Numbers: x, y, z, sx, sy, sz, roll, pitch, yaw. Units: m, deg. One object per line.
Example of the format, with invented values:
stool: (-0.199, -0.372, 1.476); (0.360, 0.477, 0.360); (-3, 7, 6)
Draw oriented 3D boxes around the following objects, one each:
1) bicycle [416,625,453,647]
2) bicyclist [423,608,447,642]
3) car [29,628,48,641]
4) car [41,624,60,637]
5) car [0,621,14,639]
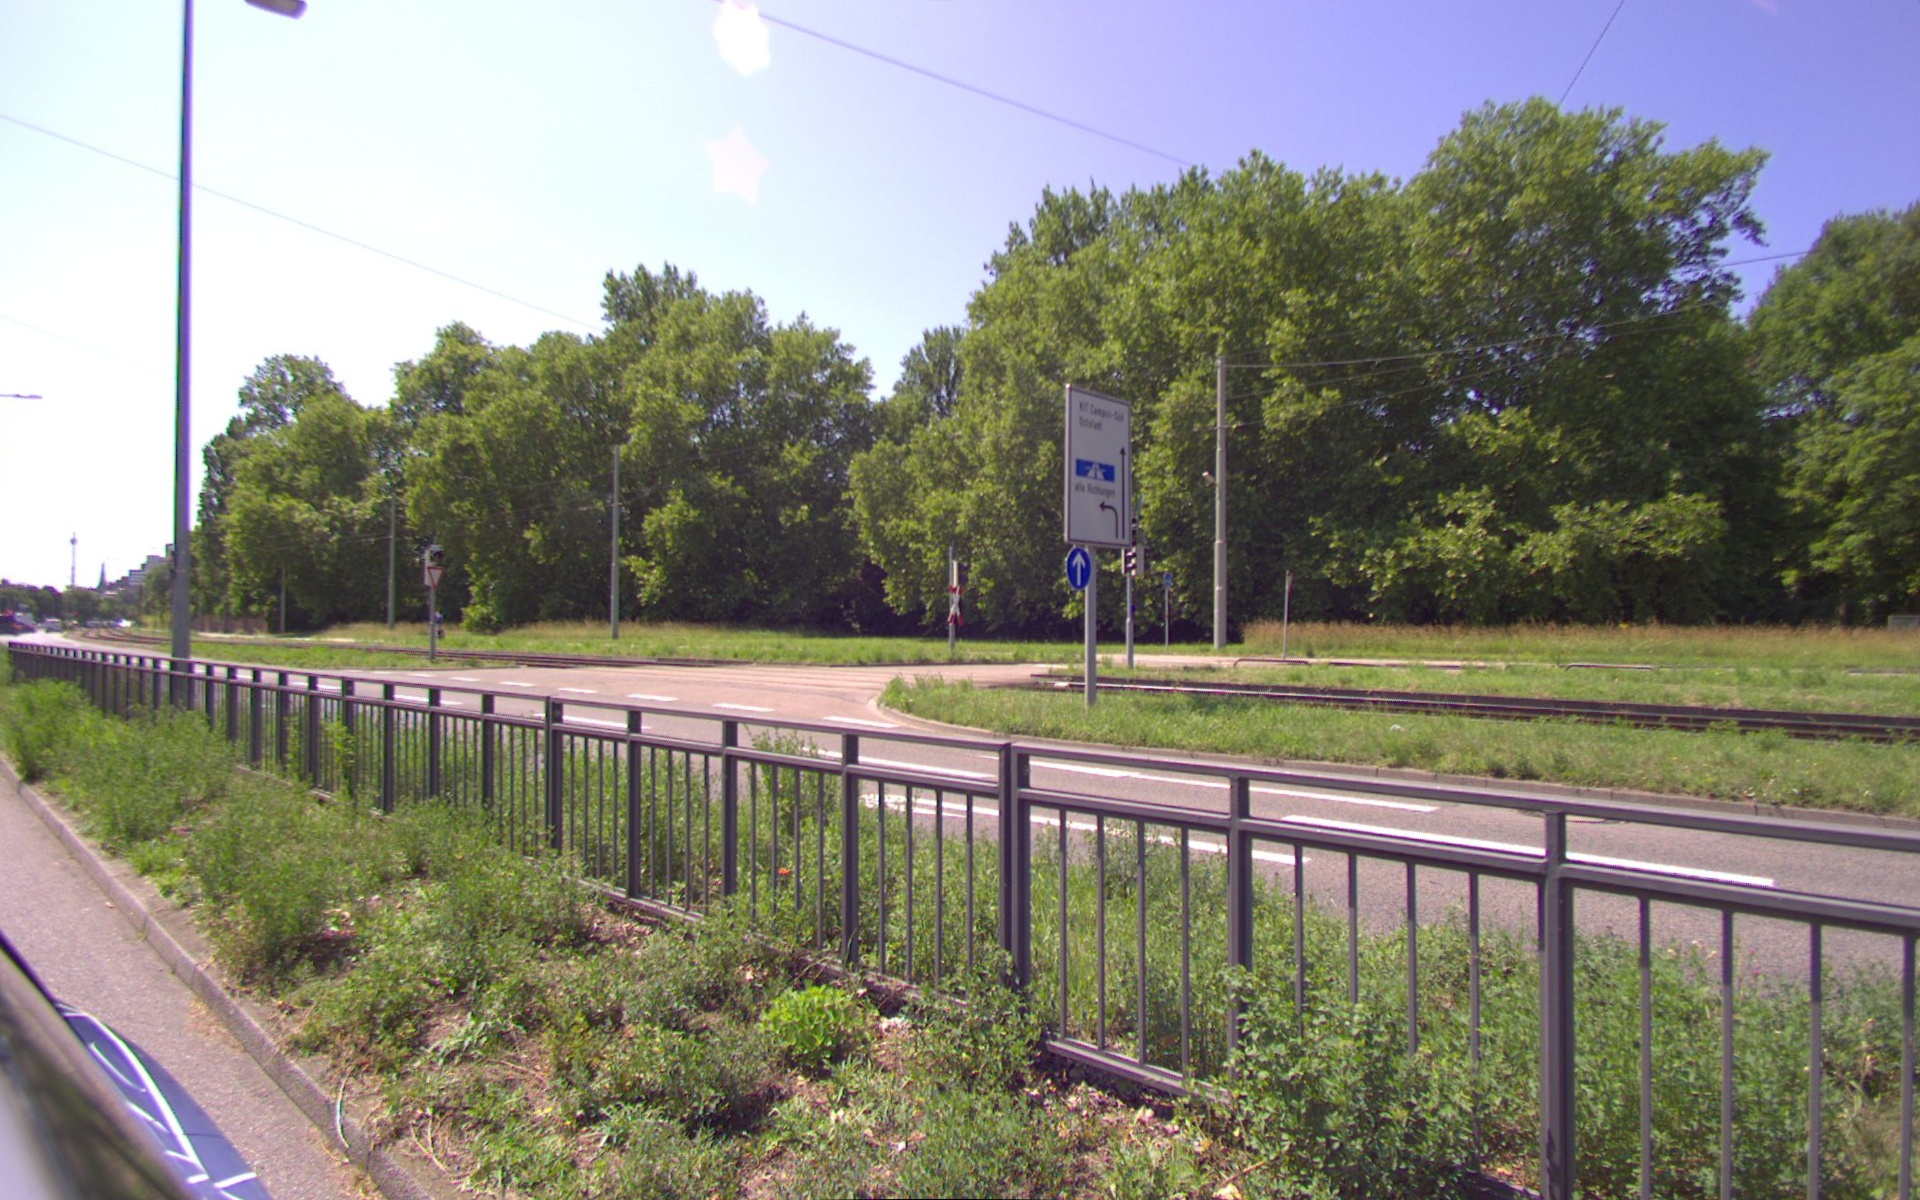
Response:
bicycle: (-29.007, 1.967, 55.832); (2.785, 1.171, 0.851); (-1, -2, 41)
bicyclist: (-28.953, 1.387, 55.829); (1.117, 1.820, 0.851); (-1, -2, 41)
car: (-141.730, 5.303, 155.634); (1.970, 1.871, 4.003); (1, -2, -44)
car: (-134.374, 4.488, 149.527); (1.970, 1.871, 4.003); (1, -2, -44)
car: (-104.529, 3.275, 110.385); (1.970, 1.871, 4.004); (1, -2, -43)
